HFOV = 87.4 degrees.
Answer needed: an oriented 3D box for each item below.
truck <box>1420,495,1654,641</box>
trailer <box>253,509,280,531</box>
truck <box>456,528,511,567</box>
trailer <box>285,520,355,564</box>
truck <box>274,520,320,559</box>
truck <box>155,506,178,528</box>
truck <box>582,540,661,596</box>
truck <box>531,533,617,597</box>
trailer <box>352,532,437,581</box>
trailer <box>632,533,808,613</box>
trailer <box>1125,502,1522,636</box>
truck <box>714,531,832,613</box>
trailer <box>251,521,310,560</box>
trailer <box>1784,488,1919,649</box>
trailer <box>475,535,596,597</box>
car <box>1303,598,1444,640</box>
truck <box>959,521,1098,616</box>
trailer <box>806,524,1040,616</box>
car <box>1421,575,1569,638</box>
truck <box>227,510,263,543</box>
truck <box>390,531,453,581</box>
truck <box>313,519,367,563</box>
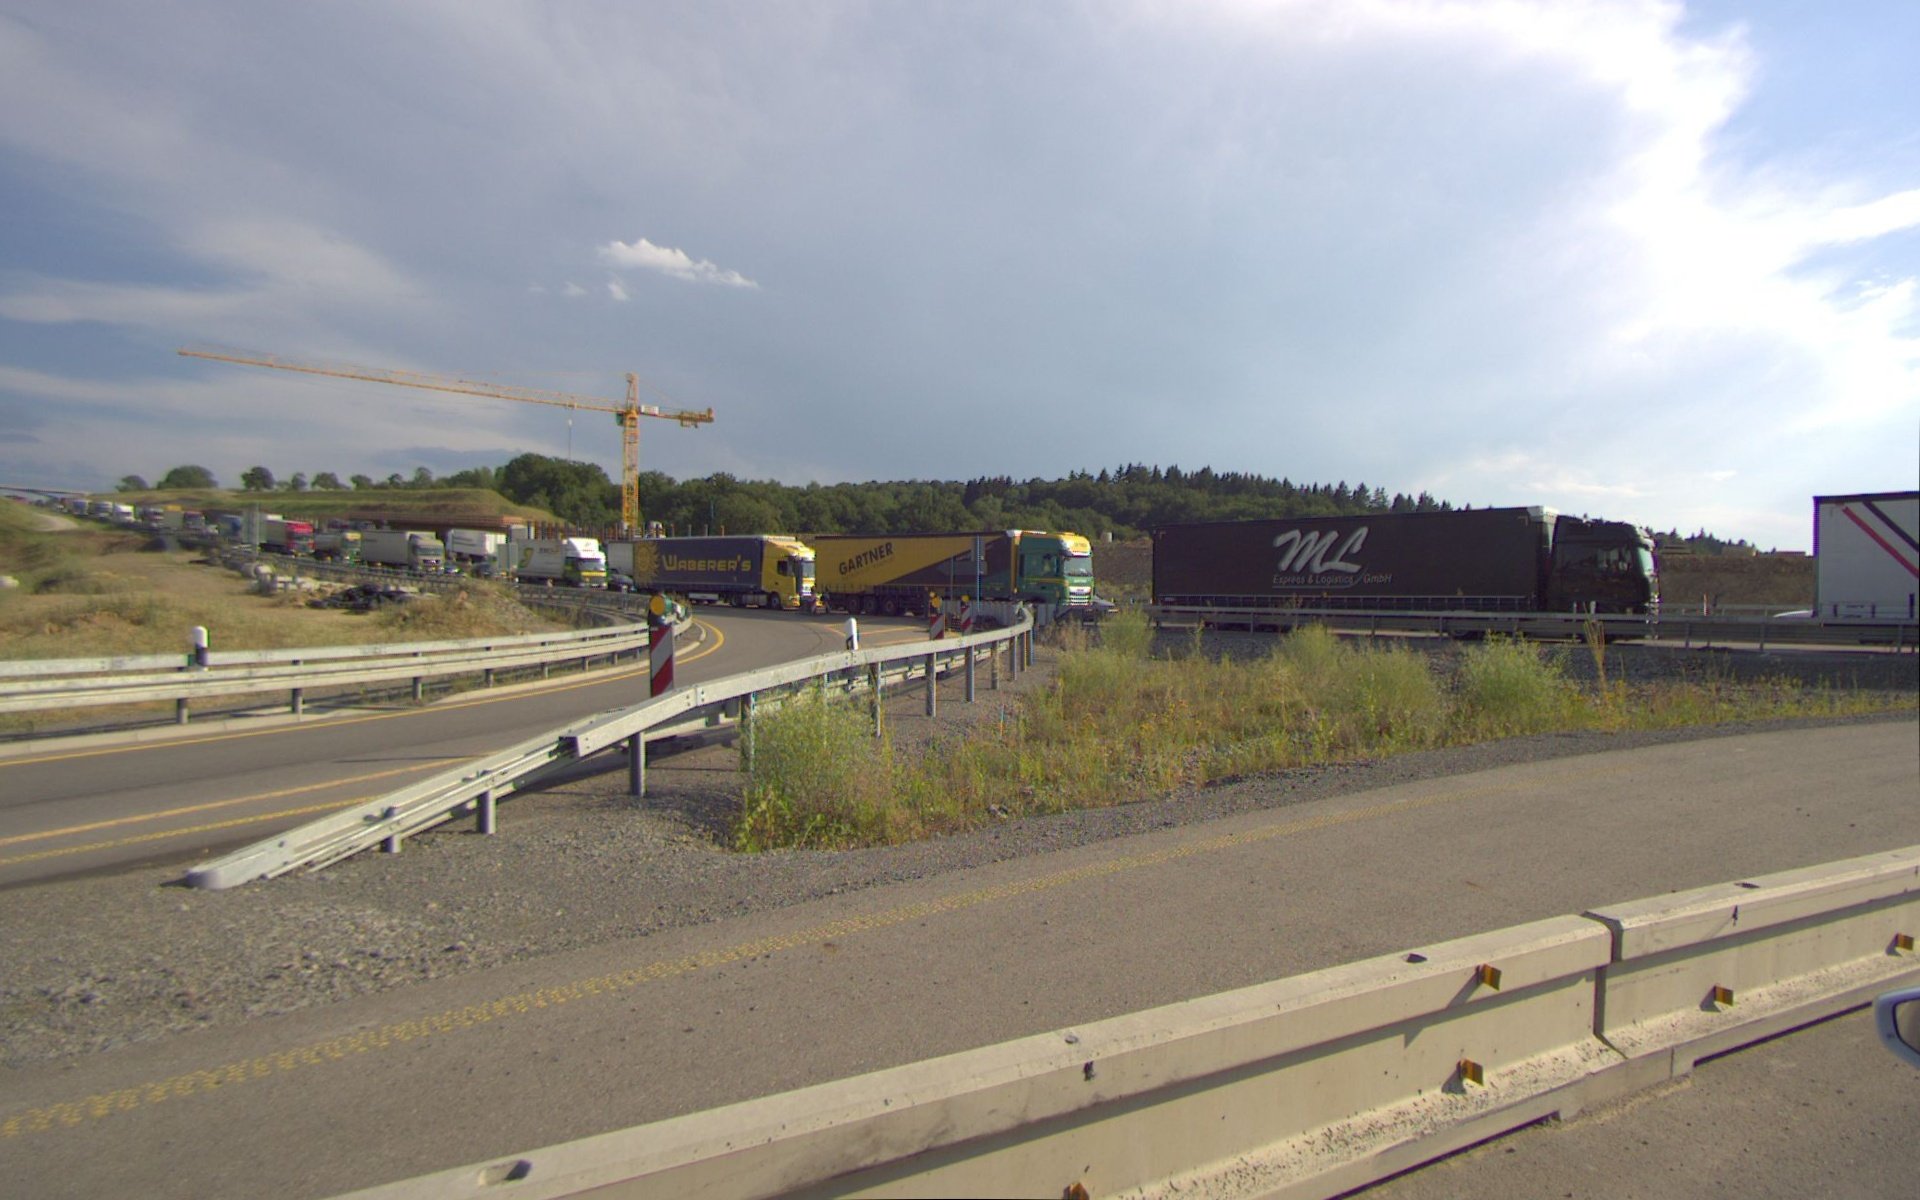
[{"bbox_3d":[17.886,-0.950,31.344,5.924,4.114,2.475,1,1,42],"label":"truck"},{"bbox_3d":[-136.770,-15.720,198.045,11.017,3.560,1.961,1,-1,43],"label":"trailer"},{"bbox_3d":[-61.653,-6.646,129.734,3.542,4.470,13.028,2,-1,-38],"label":"truck"},{"bbox_3d":[-72.061,-6.367,112.973,14.049,4.371,3.097,1,-1,43],"label":"trailer"},{"bbox_3d":[-81.791,-7.416,123.848,6.799,4.371,3.096,1,-1,43],"label":"truck"},{"bbox_3d":[-141.734,-14.841,179.393,6.126,3.511,1.990,1,-1,42],"label":"truck"},{"bbox_3d":[-25.835,-2.364,76.545,6.528,4.050,2.842,1,1,42],"label":"truck"},{"bbox_3d":[-28.309,-2.460,73.526,6.799,4.371,3.096,1,-1,43],"label":"truck"},{"bbox_3d":[-55.770,-4.169,98.835,14.049,4.371,3.097,1,-1,43],"label":"trailer"},{"bbox_3d":[-15.014,-1.566,61.473,14.049,4.371,3.097,1,-1,43],"label":"trailer"},{"bbox_3d":[12.428,-1.043,36.197,13.424,4.116,2.477,1,1,40],"label":"trailer"},{"bbox_3d":[-10.783,-1.528,57.537,6.799,4.371,3.096,1,-1,43],"label":"truck"},{"bbox_3d":[-87.559,-7.522,129.233,14.049,4.371,3.097,1,-1,43],"label":"trailer"},{"bbox_3d":[27.428,-0.706,22.760,13.432,3.930,2.475,1,1,42],"label":"trailer"},{"bbox_3d":[-33.206,-2.542,78.040,14.049,4.371,3.097,1,-1,43],"label":"trailer"},{"bbox_3d":[16.623,0.731,40.544,4.909,1.520,2.023,1,2,43],"label":"car"},{"bbox_3d":[2.971,-1.359,44.900,5.925,3.954,2.475,1,1,42],"label":"truck"},{"bbox_3d":[-2.273,-1.417,49.669,13.775,4.011,2.475,1,1,43],"label":"trailer"},{"bbox_3d":[18.436,0.205,34.707,4.267,2.040,1.519,1,-1,41],"label":"car"},{"bbox_3d":[-99.457,-10.200,139.624,8.435,4.054,2.508,1,-1,44],"label":"truck"},{"bbox_3d":[-50.398,-4.068,93.911,6.799,4.371,3.096,1,-1,43],"label":"truck"},{"bbox_3d":[-66.543,-6.250,107.788,6.799,4.371,3.096,1,-1,43],"label":"truck"}]
